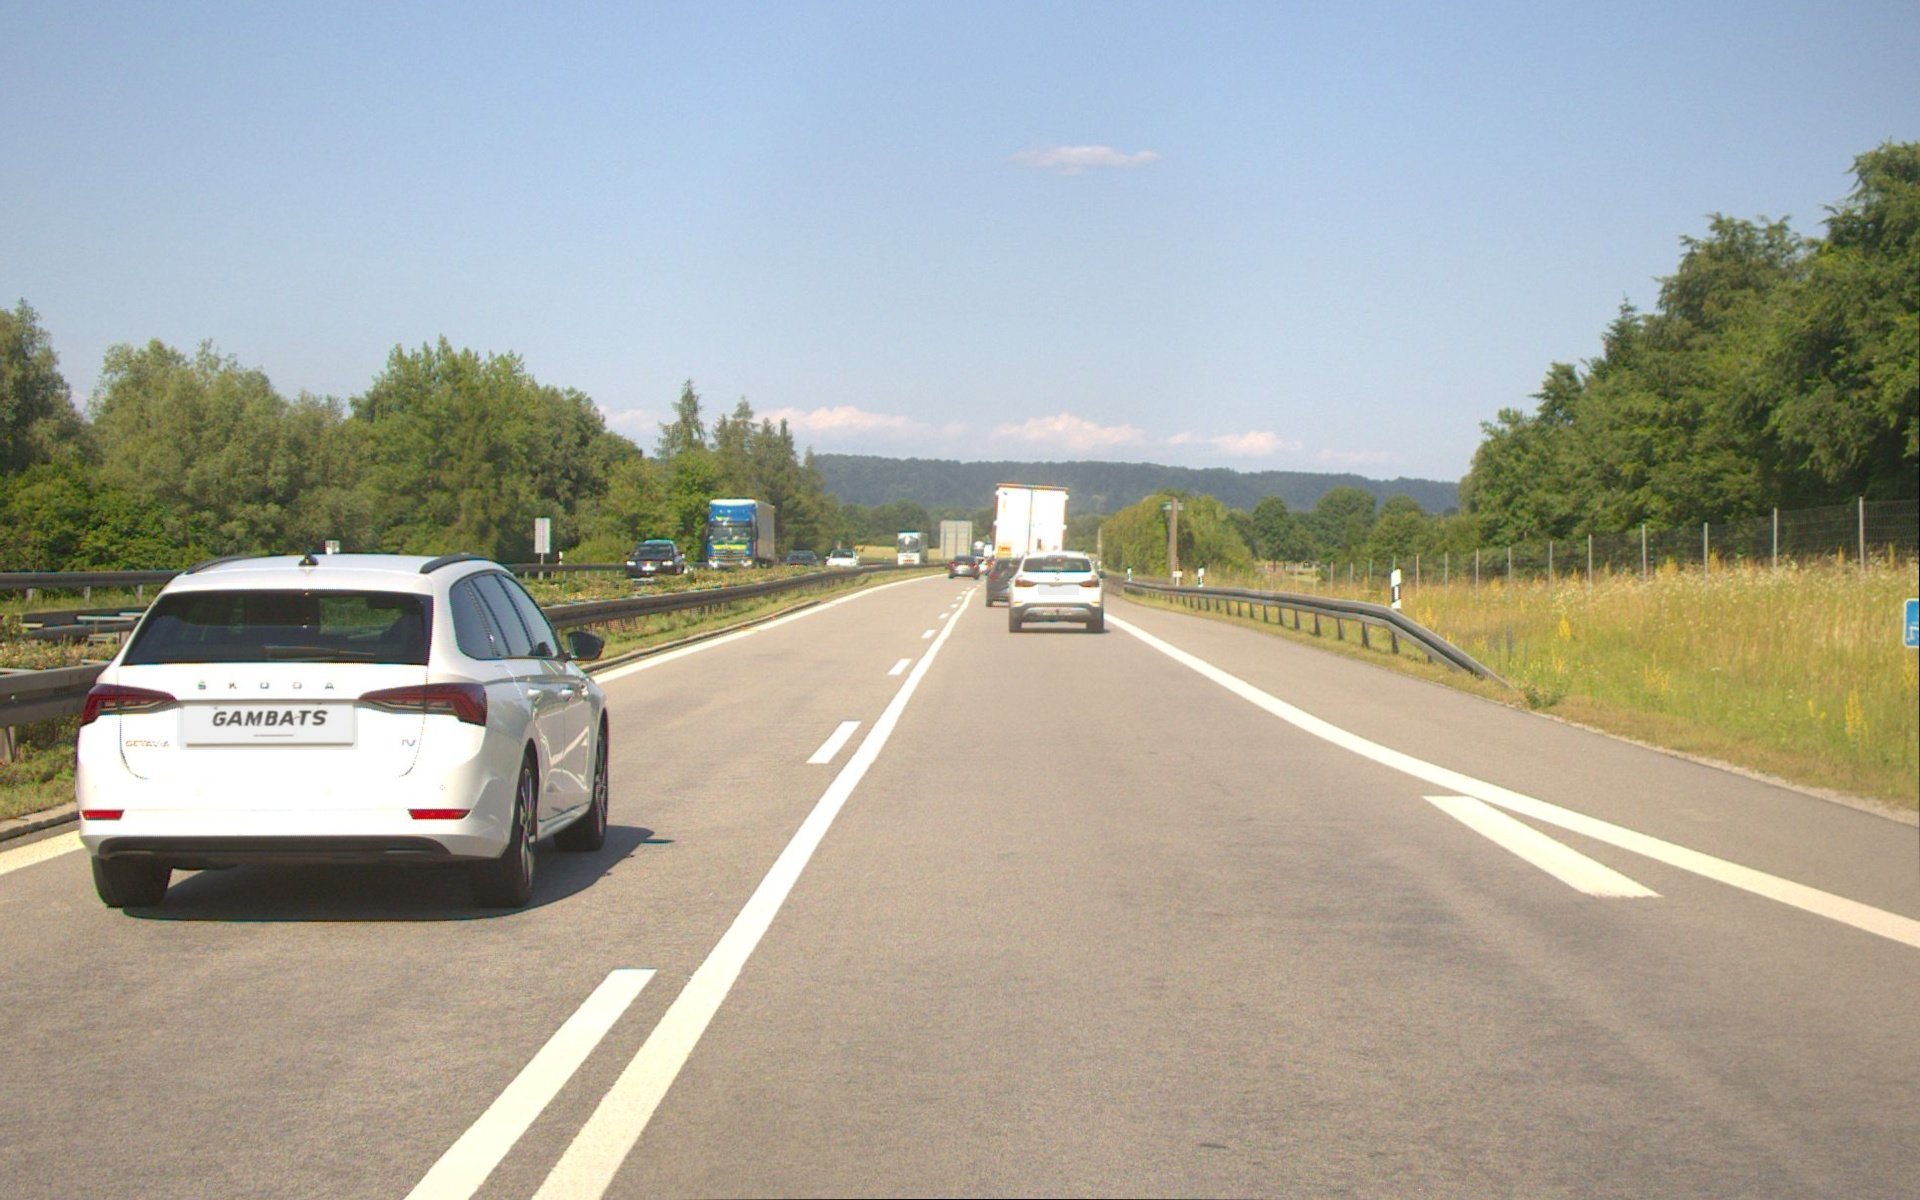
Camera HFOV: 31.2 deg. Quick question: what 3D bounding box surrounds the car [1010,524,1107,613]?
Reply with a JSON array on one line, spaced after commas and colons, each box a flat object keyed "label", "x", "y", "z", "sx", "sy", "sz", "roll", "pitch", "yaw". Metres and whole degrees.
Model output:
[{"label": "car", "x": 1.836, "y": -0.634, "z": 65.442, "sx": 1.685, "sy": 1.490, "sz": 4.987, "roll": 4, "pitch": 2, "yaw": 1}]

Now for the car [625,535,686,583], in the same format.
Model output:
[{"label": "car", "x": -11.745, "y": -1.561, "z": 132.975, "sx": 1.849, "sy": 1.797, "sz": 4.870, "roll": -1, "pitch": 0, "yaw": 1}]

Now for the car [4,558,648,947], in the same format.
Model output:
[{"label": "car", "x": -2.619, "y": 0.538, "z": 15.526, "sx": 1.840, "sy": 1.416, "sz": 5.254, "roll": 0, "pitch": 1, "yaw": 1}]

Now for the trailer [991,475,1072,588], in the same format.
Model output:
[{"label": "trailer", "x": 2.727, "y": -2.525, "z": 128.106, "sx": 2.818, "sy": 3.953, "sz": 14.160, "roll": 1, "pitch": 1, "yaw": 2}]

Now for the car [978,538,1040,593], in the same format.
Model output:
[{"label": "car", "x": 1.423, "y": -1.004, "z": 99.078, "sx": 1.665, "sy": 1.449, "sz": 4.544, "roll": 3, "pitch": 1, "yaw": 1}]

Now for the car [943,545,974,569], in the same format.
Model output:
[{"label": "car", "x": -0.110, "y": -2.690, "z": 213.861, "sx": 1.771, "sy": 1.416, "sz": 4.495, "roll": 3, "pitch": 1, "yaw": 1}]

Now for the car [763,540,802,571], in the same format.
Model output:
[{"label": "car", "x": -8.820, "y": -2.220, "z": 171.221, "sx": 1.680, "sy": 1.454, "sz": 4.926, "roll": -1, "pitch": 1, "yaw": 0}]

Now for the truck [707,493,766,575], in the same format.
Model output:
[{"label": "truck", "x": -11.992, "y": -3.547, "z": 184.517, "sx": 2.740, "sy": 4.288, "sz": 6.335, "roll": 1, "pitch": 1, "yaw": 0}]
